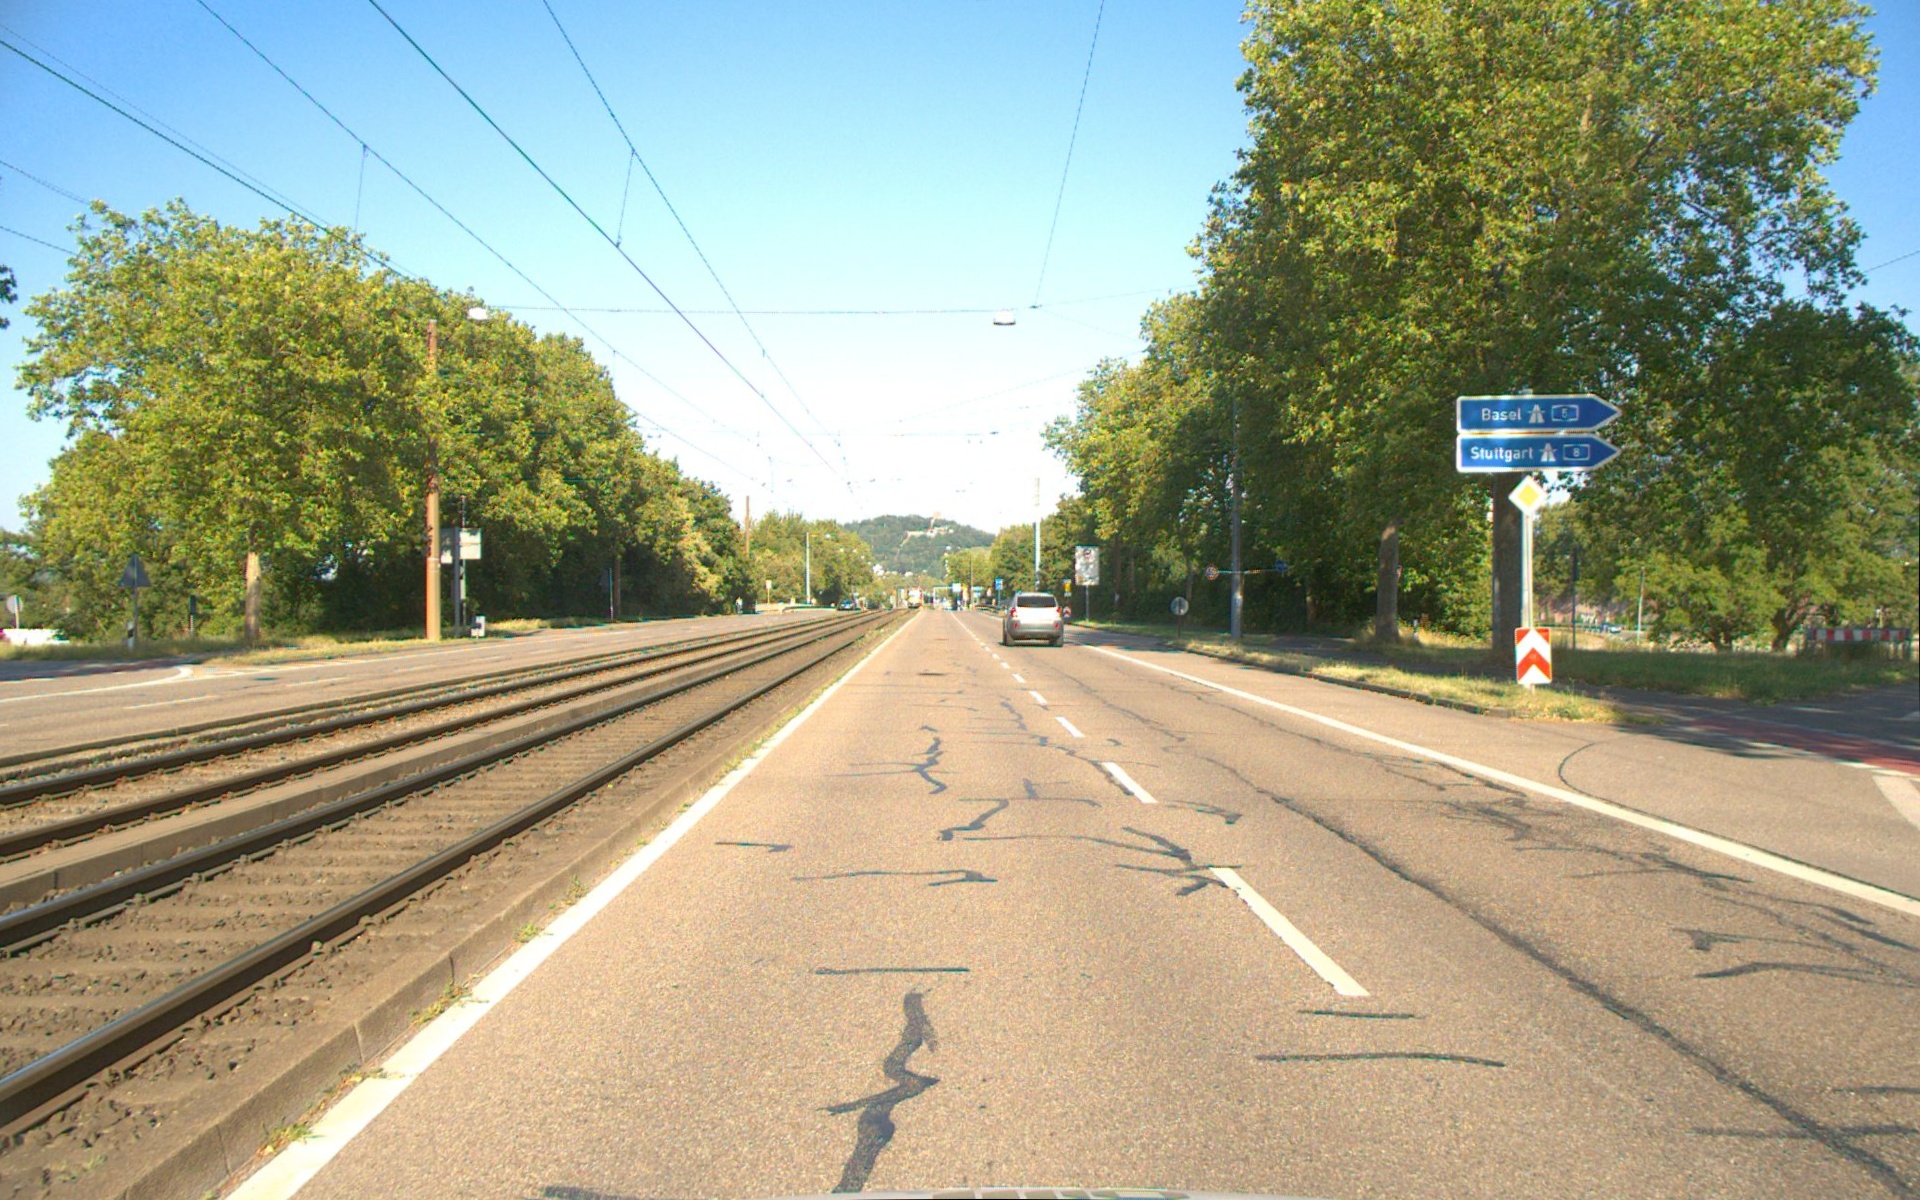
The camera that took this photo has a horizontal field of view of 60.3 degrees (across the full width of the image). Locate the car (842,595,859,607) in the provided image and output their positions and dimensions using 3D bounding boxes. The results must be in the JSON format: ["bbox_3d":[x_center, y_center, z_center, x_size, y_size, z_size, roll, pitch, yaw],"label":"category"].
[{"bbox_3d":[-16.090,0.092,242.762,1.952,1.715,4.797,-2,0,2],"label":"car"}]

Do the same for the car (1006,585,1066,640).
[{"bbox_3d":[2.413,0.392,53.632,1.849,1.723,4.257,0,0,1],"label":"car"}]
